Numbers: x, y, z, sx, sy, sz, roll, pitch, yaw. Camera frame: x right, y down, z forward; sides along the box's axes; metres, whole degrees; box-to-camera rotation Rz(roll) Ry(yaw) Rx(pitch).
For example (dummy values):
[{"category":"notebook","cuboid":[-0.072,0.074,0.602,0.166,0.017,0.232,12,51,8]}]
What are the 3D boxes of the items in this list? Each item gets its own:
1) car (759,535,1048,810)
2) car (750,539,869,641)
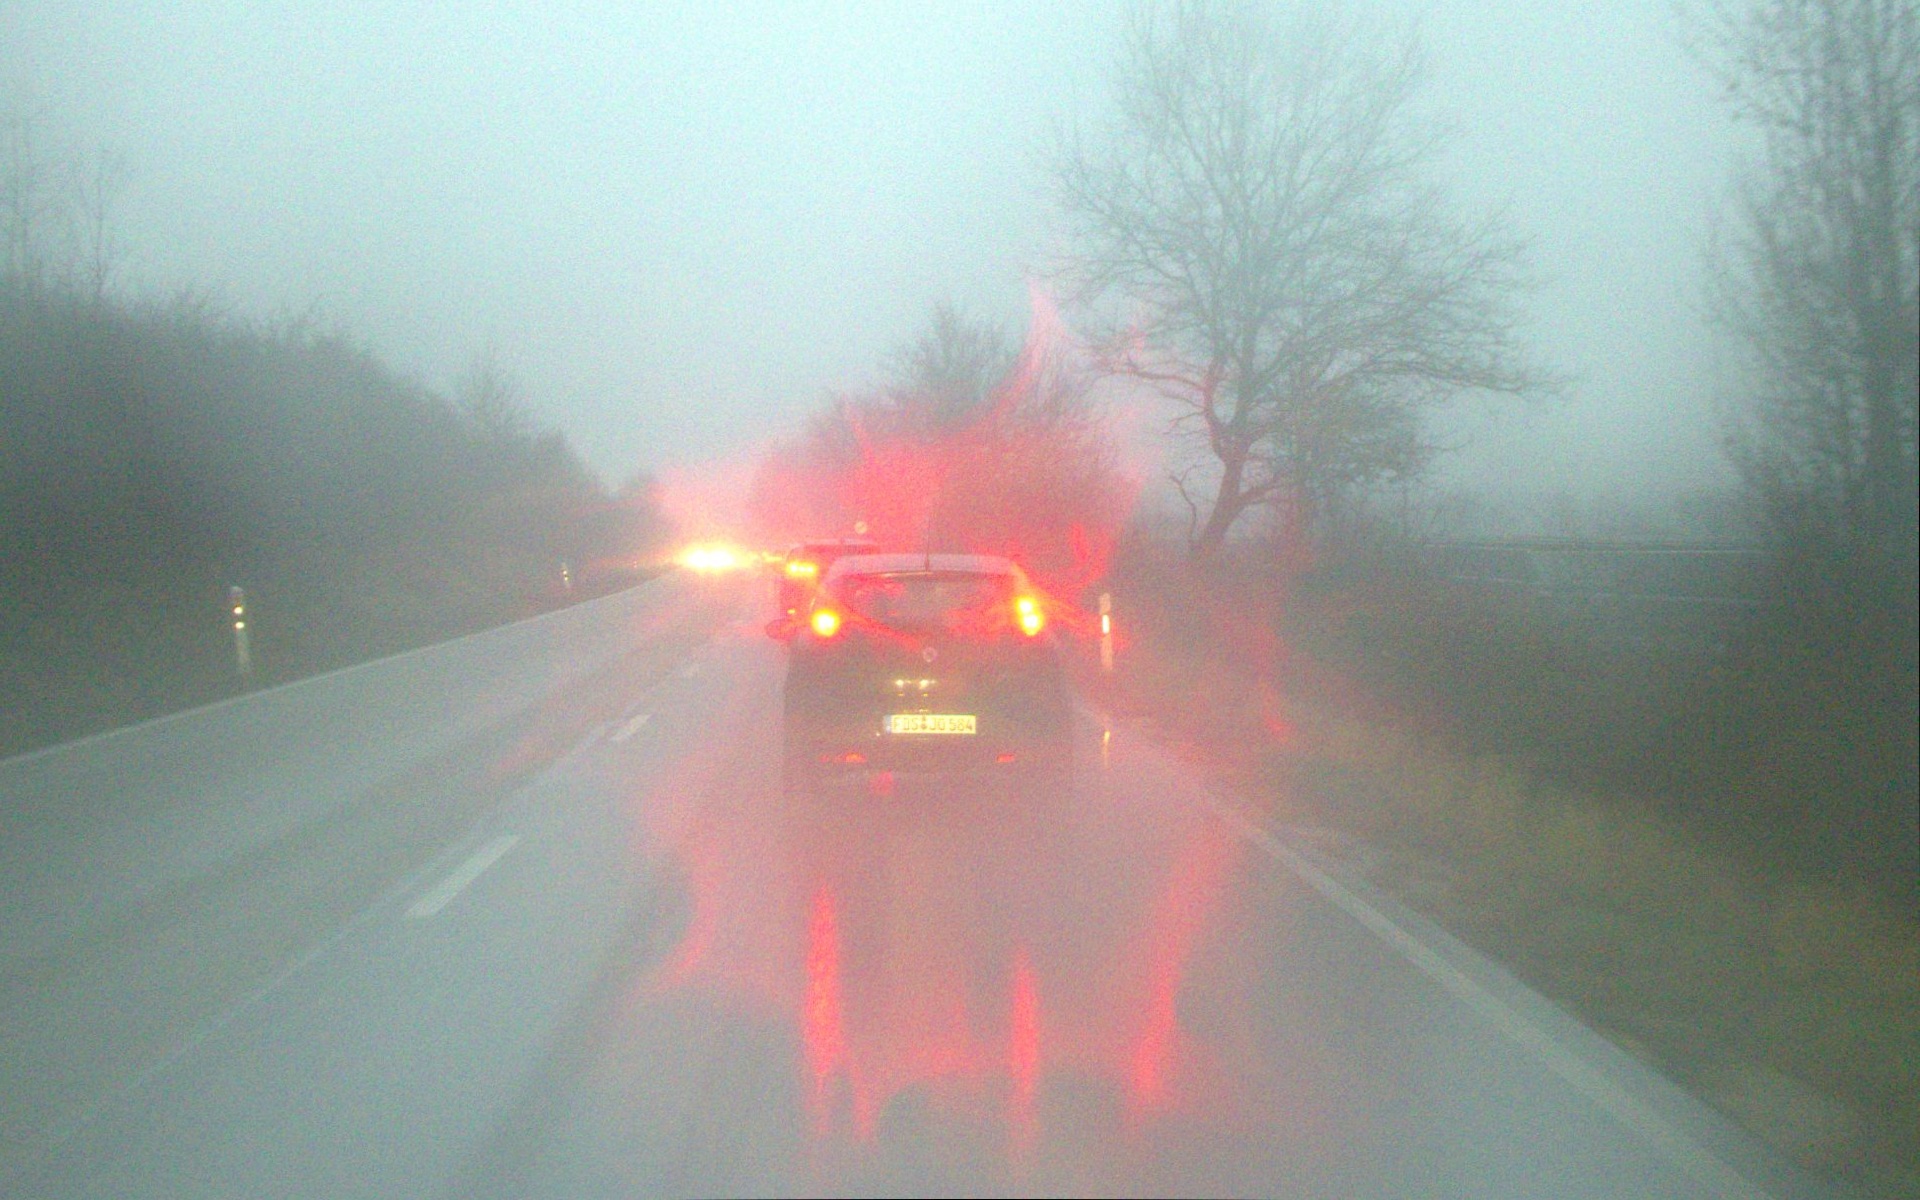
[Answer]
[{"category":"car","cuboid":[-0.290,0.371,21.152,1.602,1.517,3.869,1,1,1]},{"category":"car","cuboid":[-2.145,-0.175,49.735,1.547,1.392,3.870,1,1,0]}]
